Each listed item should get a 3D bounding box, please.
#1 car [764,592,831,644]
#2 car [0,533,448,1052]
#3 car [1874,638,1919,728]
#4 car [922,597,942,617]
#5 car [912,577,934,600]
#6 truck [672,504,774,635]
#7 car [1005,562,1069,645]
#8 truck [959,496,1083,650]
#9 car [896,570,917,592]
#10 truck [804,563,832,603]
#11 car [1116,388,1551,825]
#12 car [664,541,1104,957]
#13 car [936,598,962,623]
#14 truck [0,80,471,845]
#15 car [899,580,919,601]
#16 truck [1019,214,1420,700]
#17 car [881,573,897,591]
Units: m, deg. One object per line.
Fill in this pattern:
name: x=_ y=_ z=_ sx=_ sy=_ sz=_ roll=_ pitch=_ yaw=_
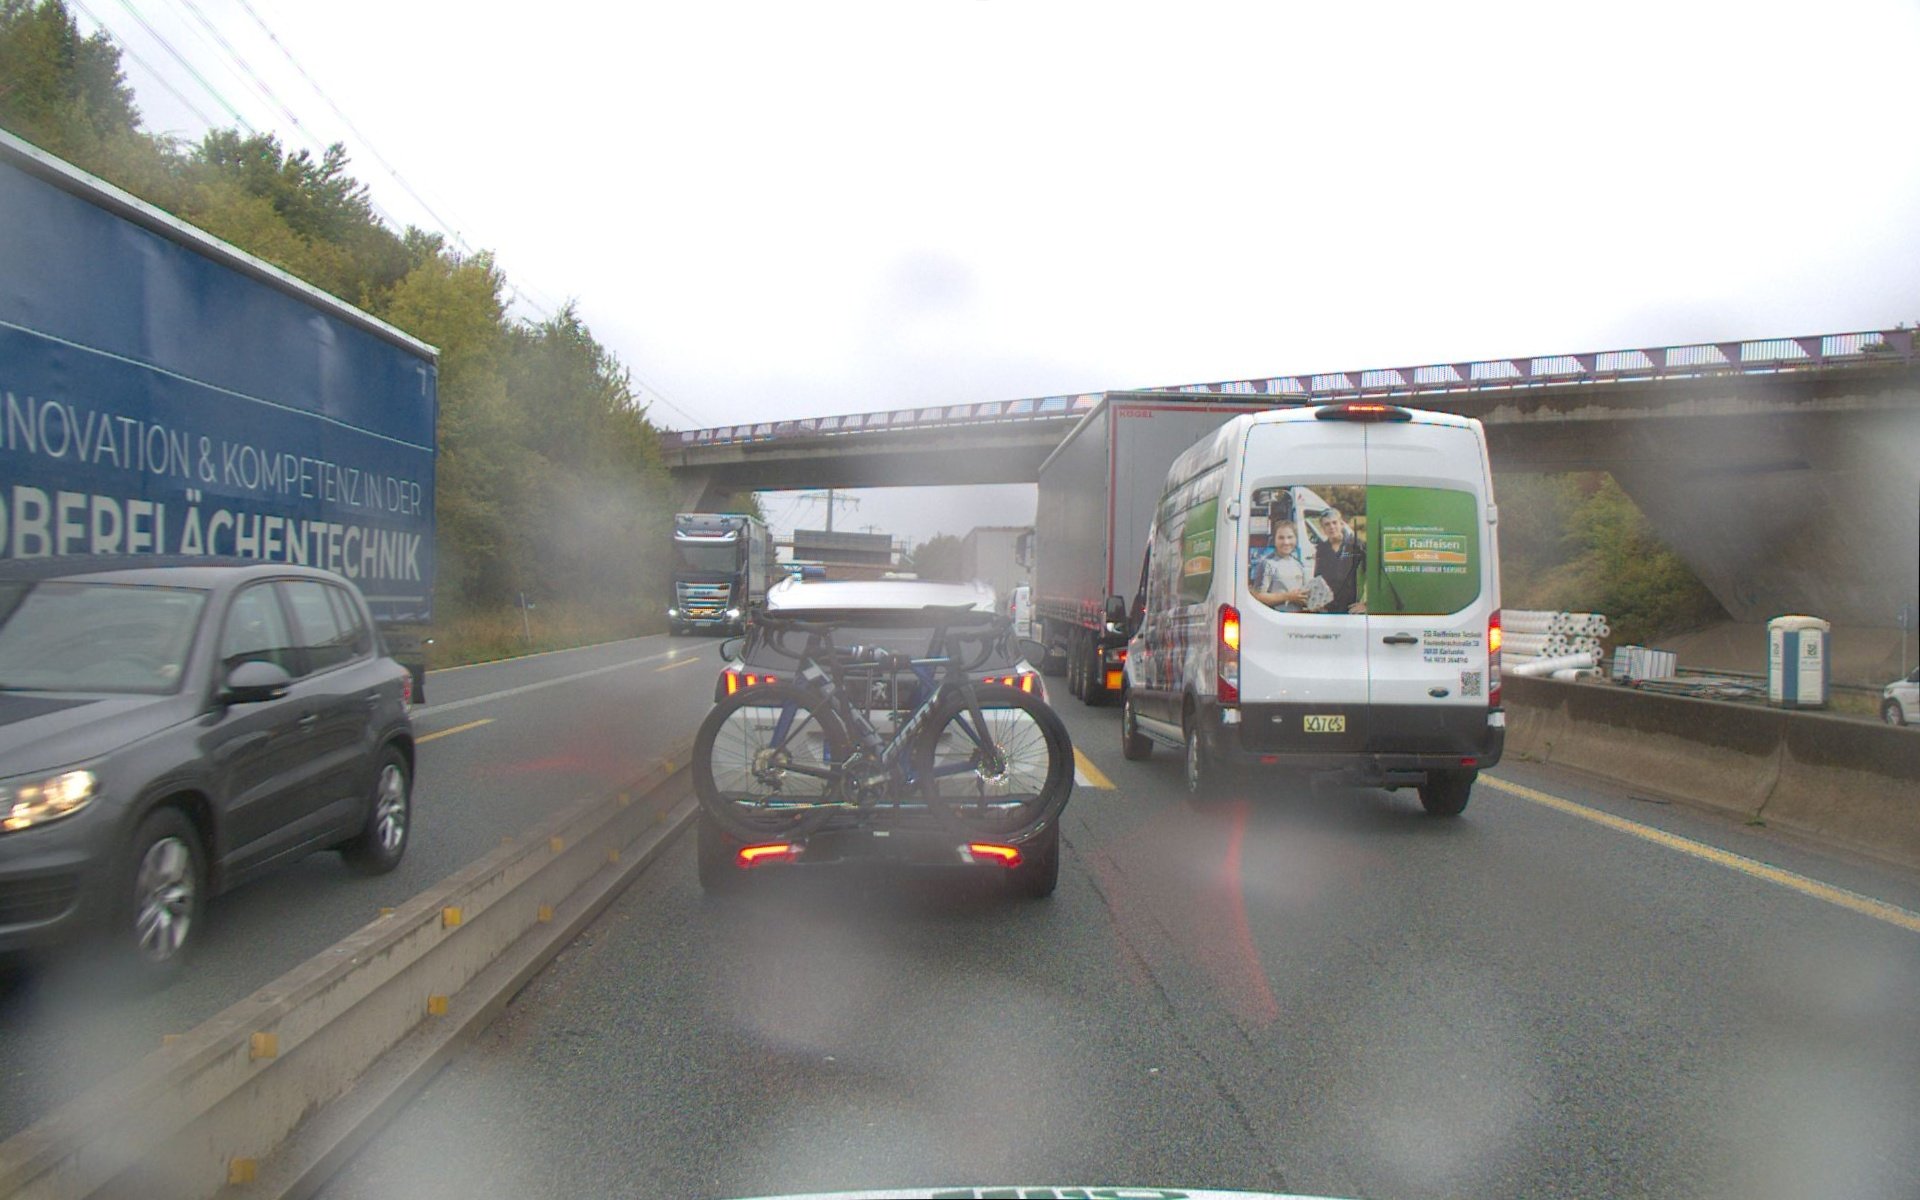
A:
car: x=-4.980 y=0.530 z=51.063 sx=1.900 sy=1.520 sz=3.997 roll=1 pitch=0 yaw=-4
car: x=-3.720 y=0.606 z=7.260 sx=1.747 sy=1.638 sz=4.102 roll=1 pitch=0 yaw=-2
car: x=20.838 y=1.749 z=33.893 sx=1.810 sy=1.840 sz=4.155 roll=1 pitch=0 yaw=-2
car: x=-2.279 y=0.562 z=134.201 sx=1.605 sy=1.524 sz=3.665 roll=1 pitch=0 yaw=0
car: x=-3.357 y=-1.048 z=151.382 sx=1.953 sy=2.049 sz=3.999 roll=1 pitch=0 yaw=-1
truck: x=-8.266 y=-0.969 z=58.810 sx=2.414 sy=4.195 sz=10.084 roll=1 pitch=0 yaw=-2
car: x=2.154 y=0.109 z=47.354 sx=1.635 sy=2.218 sz=4.535 roll=1 pitch=0 yaw=1
truck: x=2.419 y=-0.985 z=73.201 sx=4.645 sy=5.772 sz=20.376 roll=1 pitch=0 yaw=1
car: x=-5.921 y=-2.090 z=183.845 sx=2.193 sy=2.348 sz=4.571 roll=1 pitch=0 yaw=0
truck: x=-15.358 y=-1.764 z=179.234 sx=2.414 sy=4.195 sz=10.084 roll=1 pitch=0 yaw=-2
car: x=2.650 y=0.055 z=13.495 sx=2.100 sy=2.723 sz=6.116 roll=1 pitch=0 yaw=0
car: x=-0.285 y=0.617 z=9.066 sx=1.773 sy=1.666 sz=4.635 roll=1 pitch=0 yaw=1
car: x=-0.674 y=0.658 z=105.093 sx=1.605 sy=1.524 sz=3.665 roll=1 pitch=0 yaw=0
truck: x=-6.656 y=-0.760 z=10.083 sx=2.710 sy=4.195 sz=16.921 roll=1 pitch=0 yaw=-2
car: x=-5.249 y=-0.975 z=171.120 sx=1.953 sy=2.049 sz=3.999 roll=1 pitch=0 yaw=0
truck: x=3.487 y=-1.674 z=30.055 sx=3.898 sy=5.772 sz=20.373 roll=1 pitch=0 yaw=0
car: x=-9.259 y=-2.335 z=215.428 sx=1.953 sy=2.164 sz=4.526 roll=1 pitch=0 yaw=0
